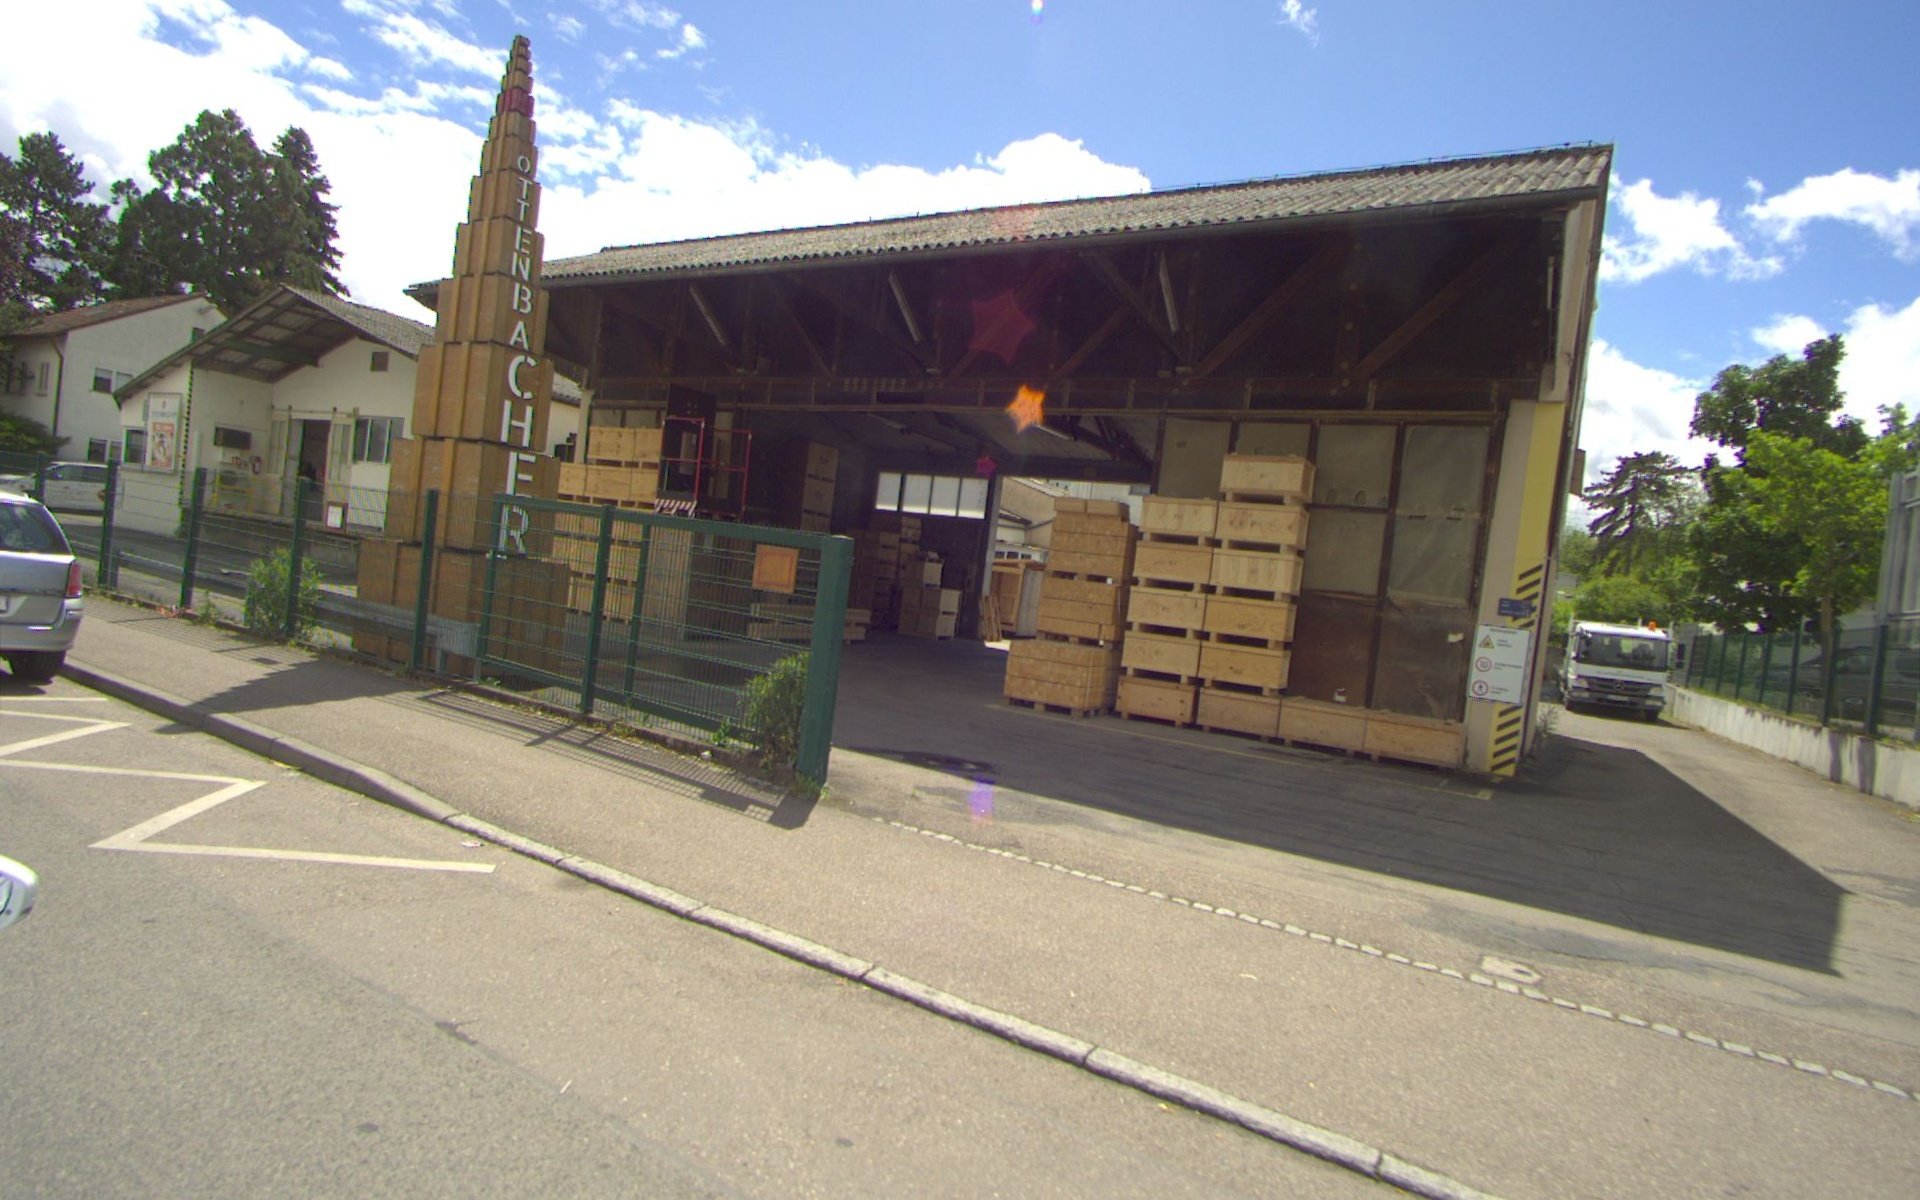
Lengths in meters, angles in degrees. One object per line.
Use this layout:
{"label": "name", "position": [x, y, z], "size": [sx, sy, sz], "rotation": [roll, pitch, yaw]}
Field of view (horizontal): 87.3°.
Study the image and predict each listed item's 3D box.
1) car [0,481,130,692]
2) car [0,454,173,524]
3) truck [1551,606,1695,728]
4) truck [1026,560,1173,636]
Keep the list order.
{"label": "car", "position": [-8.732, -0.317, 8.019], "size": [4.288, 1.469, 1.793], "rotation": [7, 2, 29]}
{"label": "car", "position": [-32.908, -4.134, 37.647], "size": [1.968, 1.955, 5.014], "rotation": [7, 2, 34]}
{"label": "truck", "position": [20.954, 2.358, 32.181], "size": [2.930, 2.898, 12.002], "rotation": [8, -2, 32]}
{"label": "truck", "position": [5.621, -0.101, 40.824], "size": [5.288, 2.371, 1.997], "rotation": [7, -1, 31]}
